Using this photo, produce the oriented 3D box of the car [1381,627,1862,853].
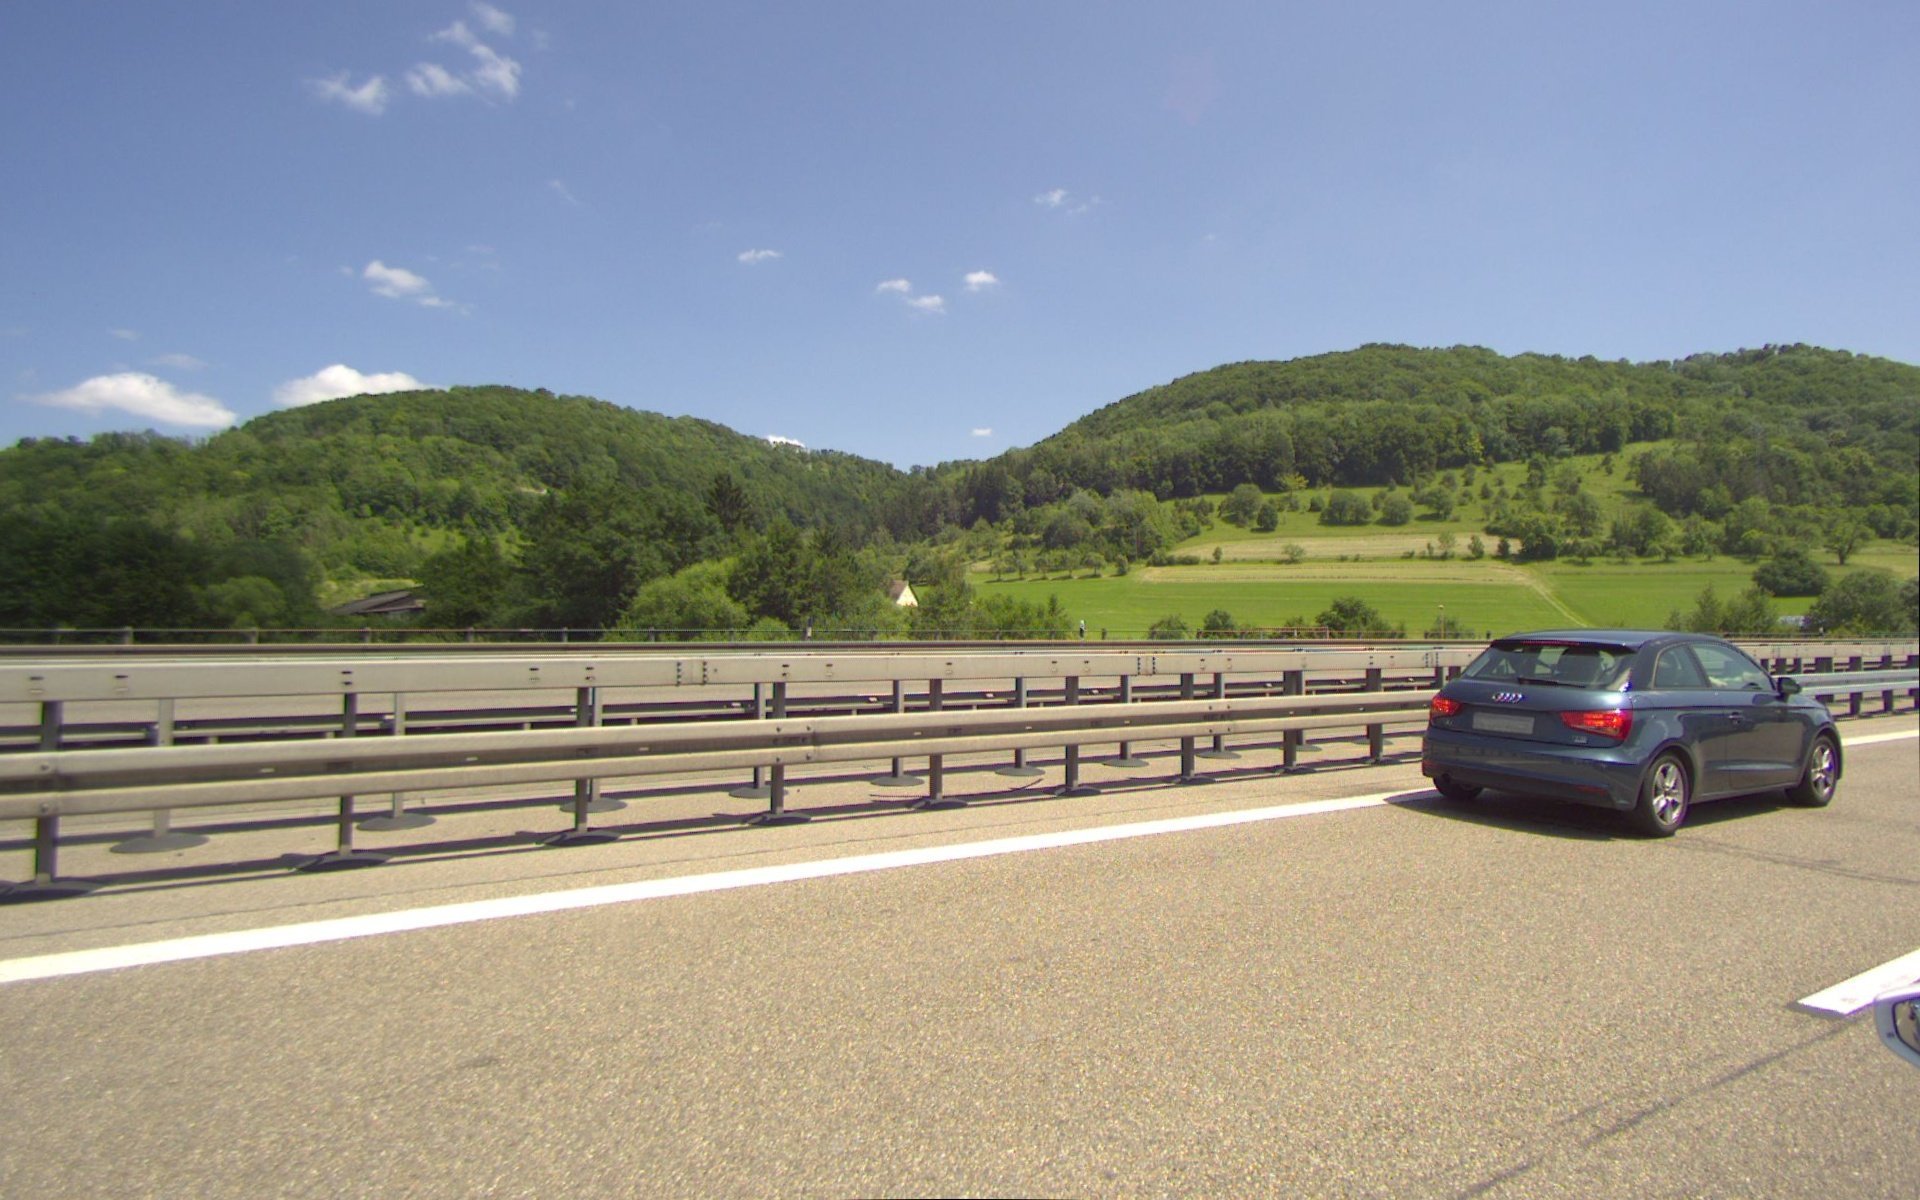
[{"bbox_3d":[5.396,0.937,8.091,3.953,1.407,1.680,1,-1,-30],"label":"car"}]
